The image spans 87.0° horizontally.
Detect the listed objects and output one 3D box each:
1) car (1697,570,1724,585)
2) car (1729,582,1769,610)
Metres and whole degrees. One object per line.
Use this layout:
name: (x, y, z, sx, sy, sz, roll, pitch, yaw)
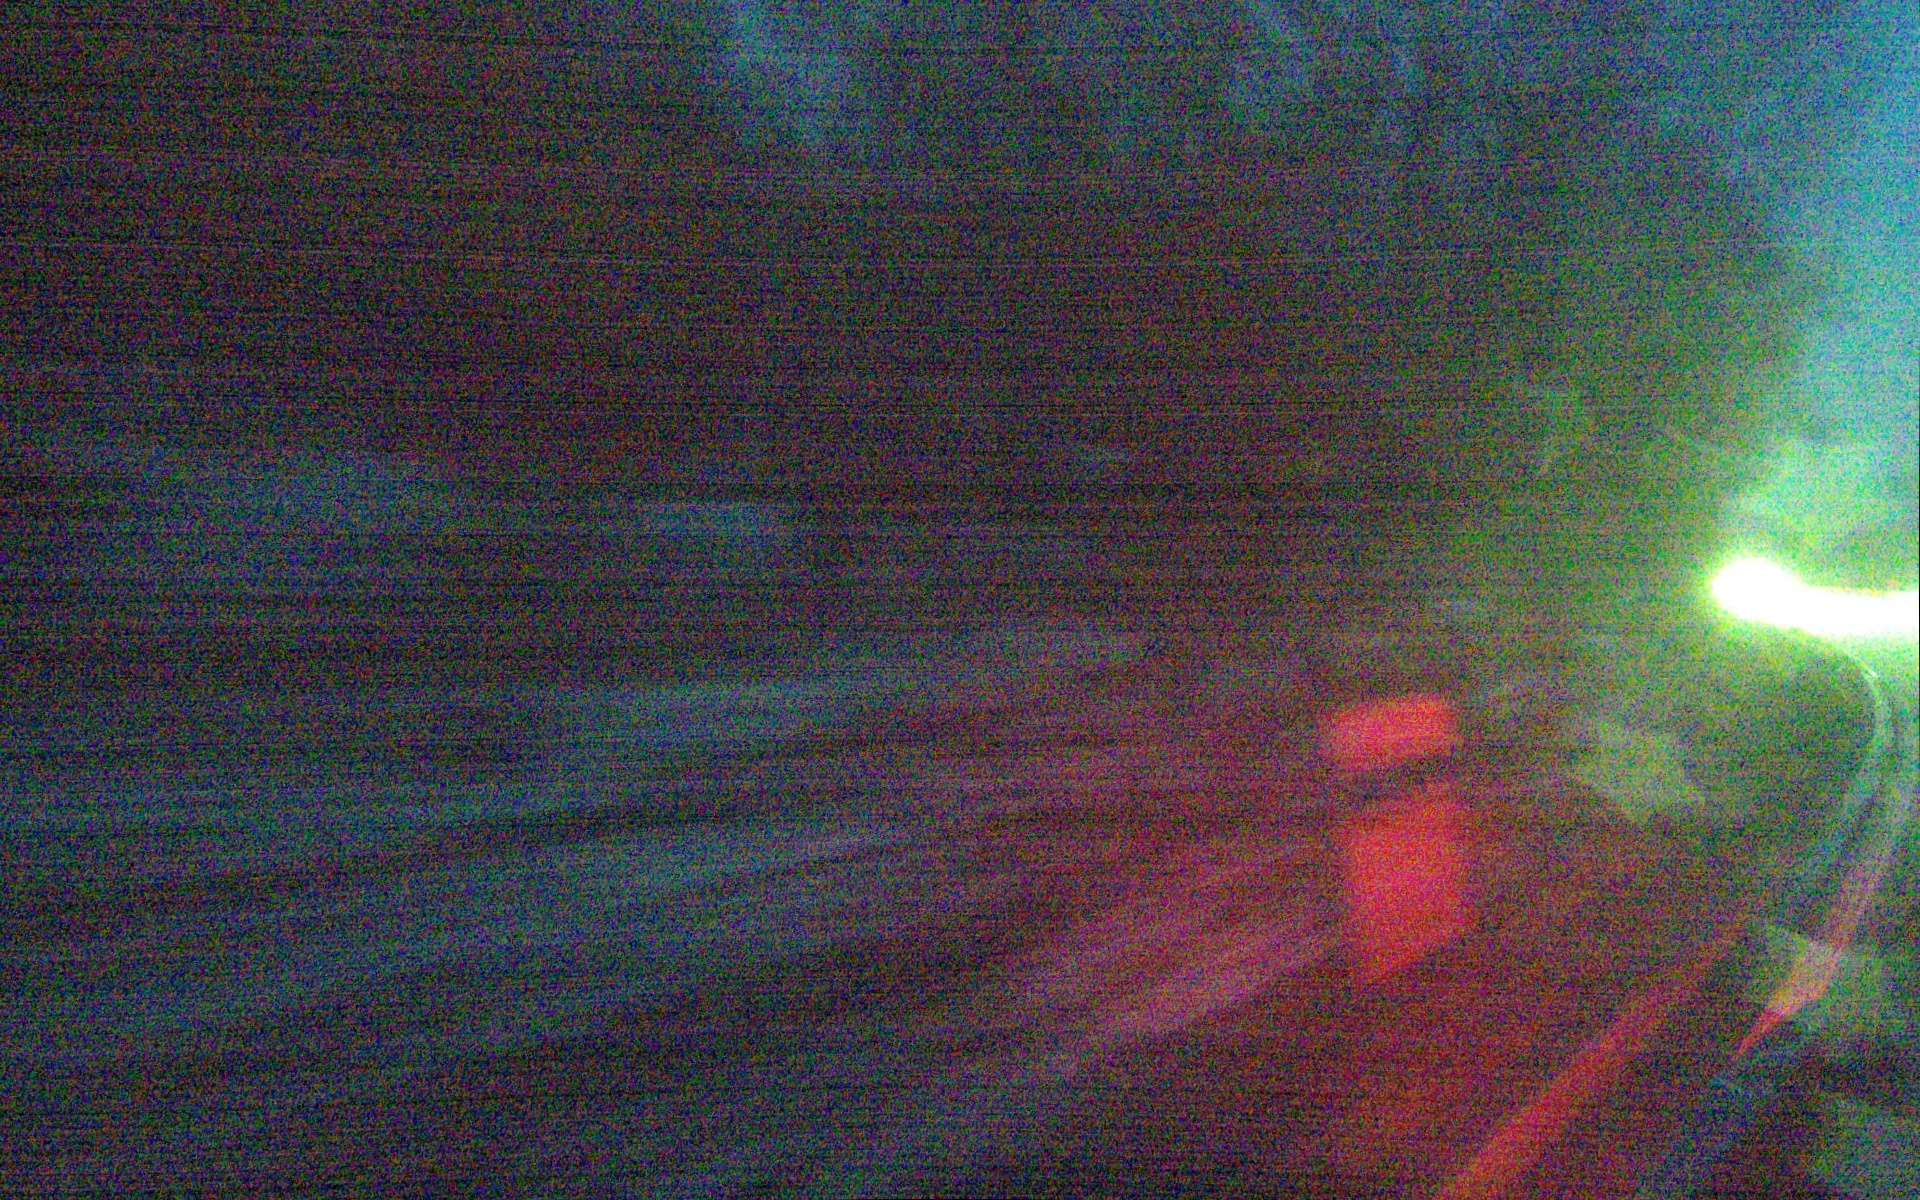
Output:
car: (76.660, -2.345, 103.428, 1.986, 1.428, 3.954, -1, 2, 33)
car: (55.244, -0.312, 70.927, 1.785, 1.873, 3.602, -1, 1, 32)
